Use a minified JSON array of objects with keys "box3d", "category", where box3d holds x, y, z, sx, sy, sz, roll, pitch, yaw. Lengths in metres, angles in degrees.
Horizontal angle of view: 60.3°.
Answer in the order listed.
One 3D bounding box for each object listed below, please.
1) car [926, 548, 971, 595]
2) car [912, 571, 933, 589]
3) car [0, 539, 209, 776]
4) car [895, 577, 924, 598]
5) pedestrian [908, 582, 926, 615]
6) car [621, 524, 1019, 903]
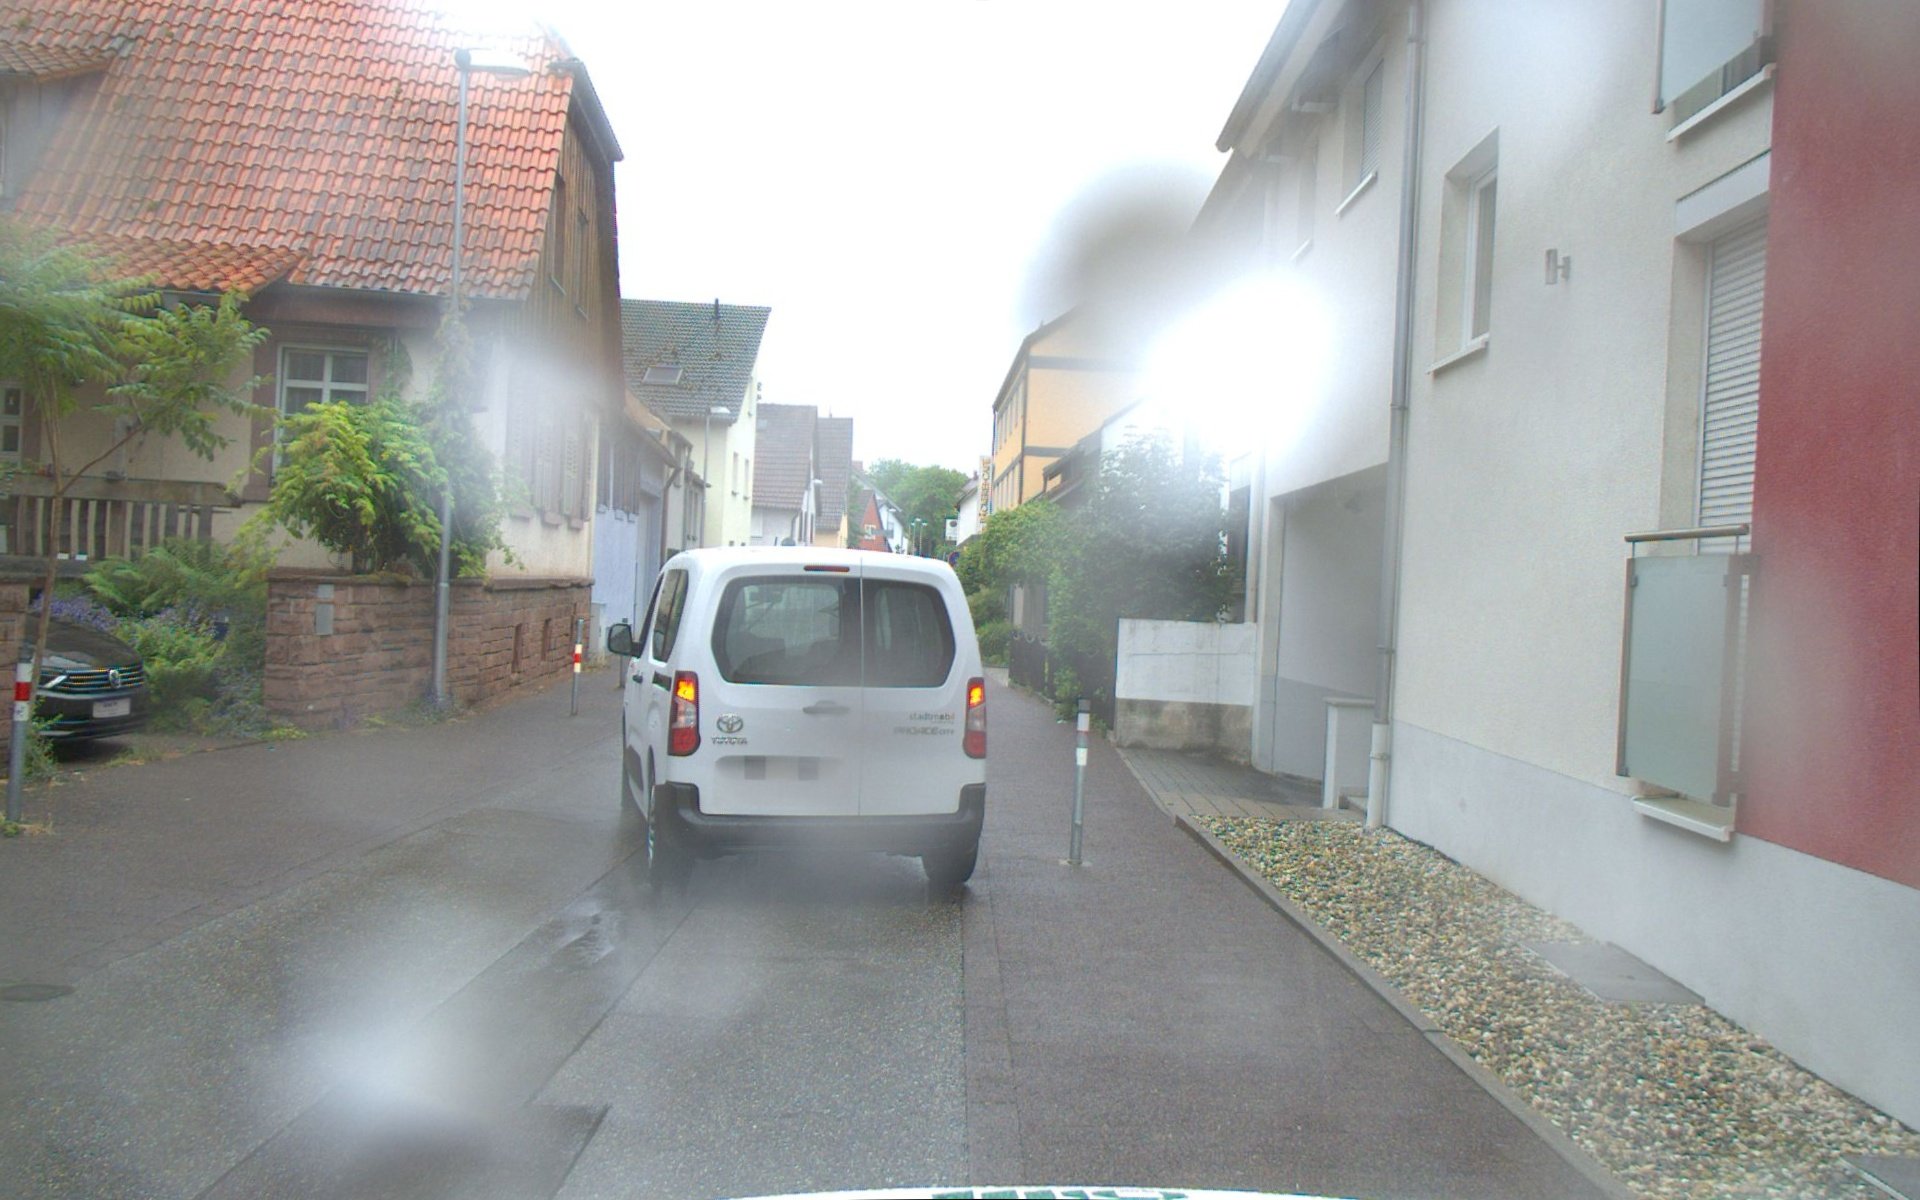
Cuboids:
[{"box3d":[-0.510,-1.267,74.975,1.953,2.049,4.000,1,0,0],"category":"car"},{"box3d":[-3.488,-1.855,154.679,1.556,1.466,3.768,4,0,4],"category":"car"},{"box3d":[-7.854,0.205,11.983,3.906,1.449,1.737,7,0,5],"category":"car"},{"box3d":[-4.076,-0.990,133.723,1.951,1.586,3.434,-1,2,4],"category":"car"},{"box3d":[-2.554,-0.093,98.757,1.030,1.926,0.877,1,0,-3],"category":"pedestrian"},{"box3d":[-1.054,0.549,10.061,1.745,1.811,3.985,2,0,-14],"category":"car"}]
